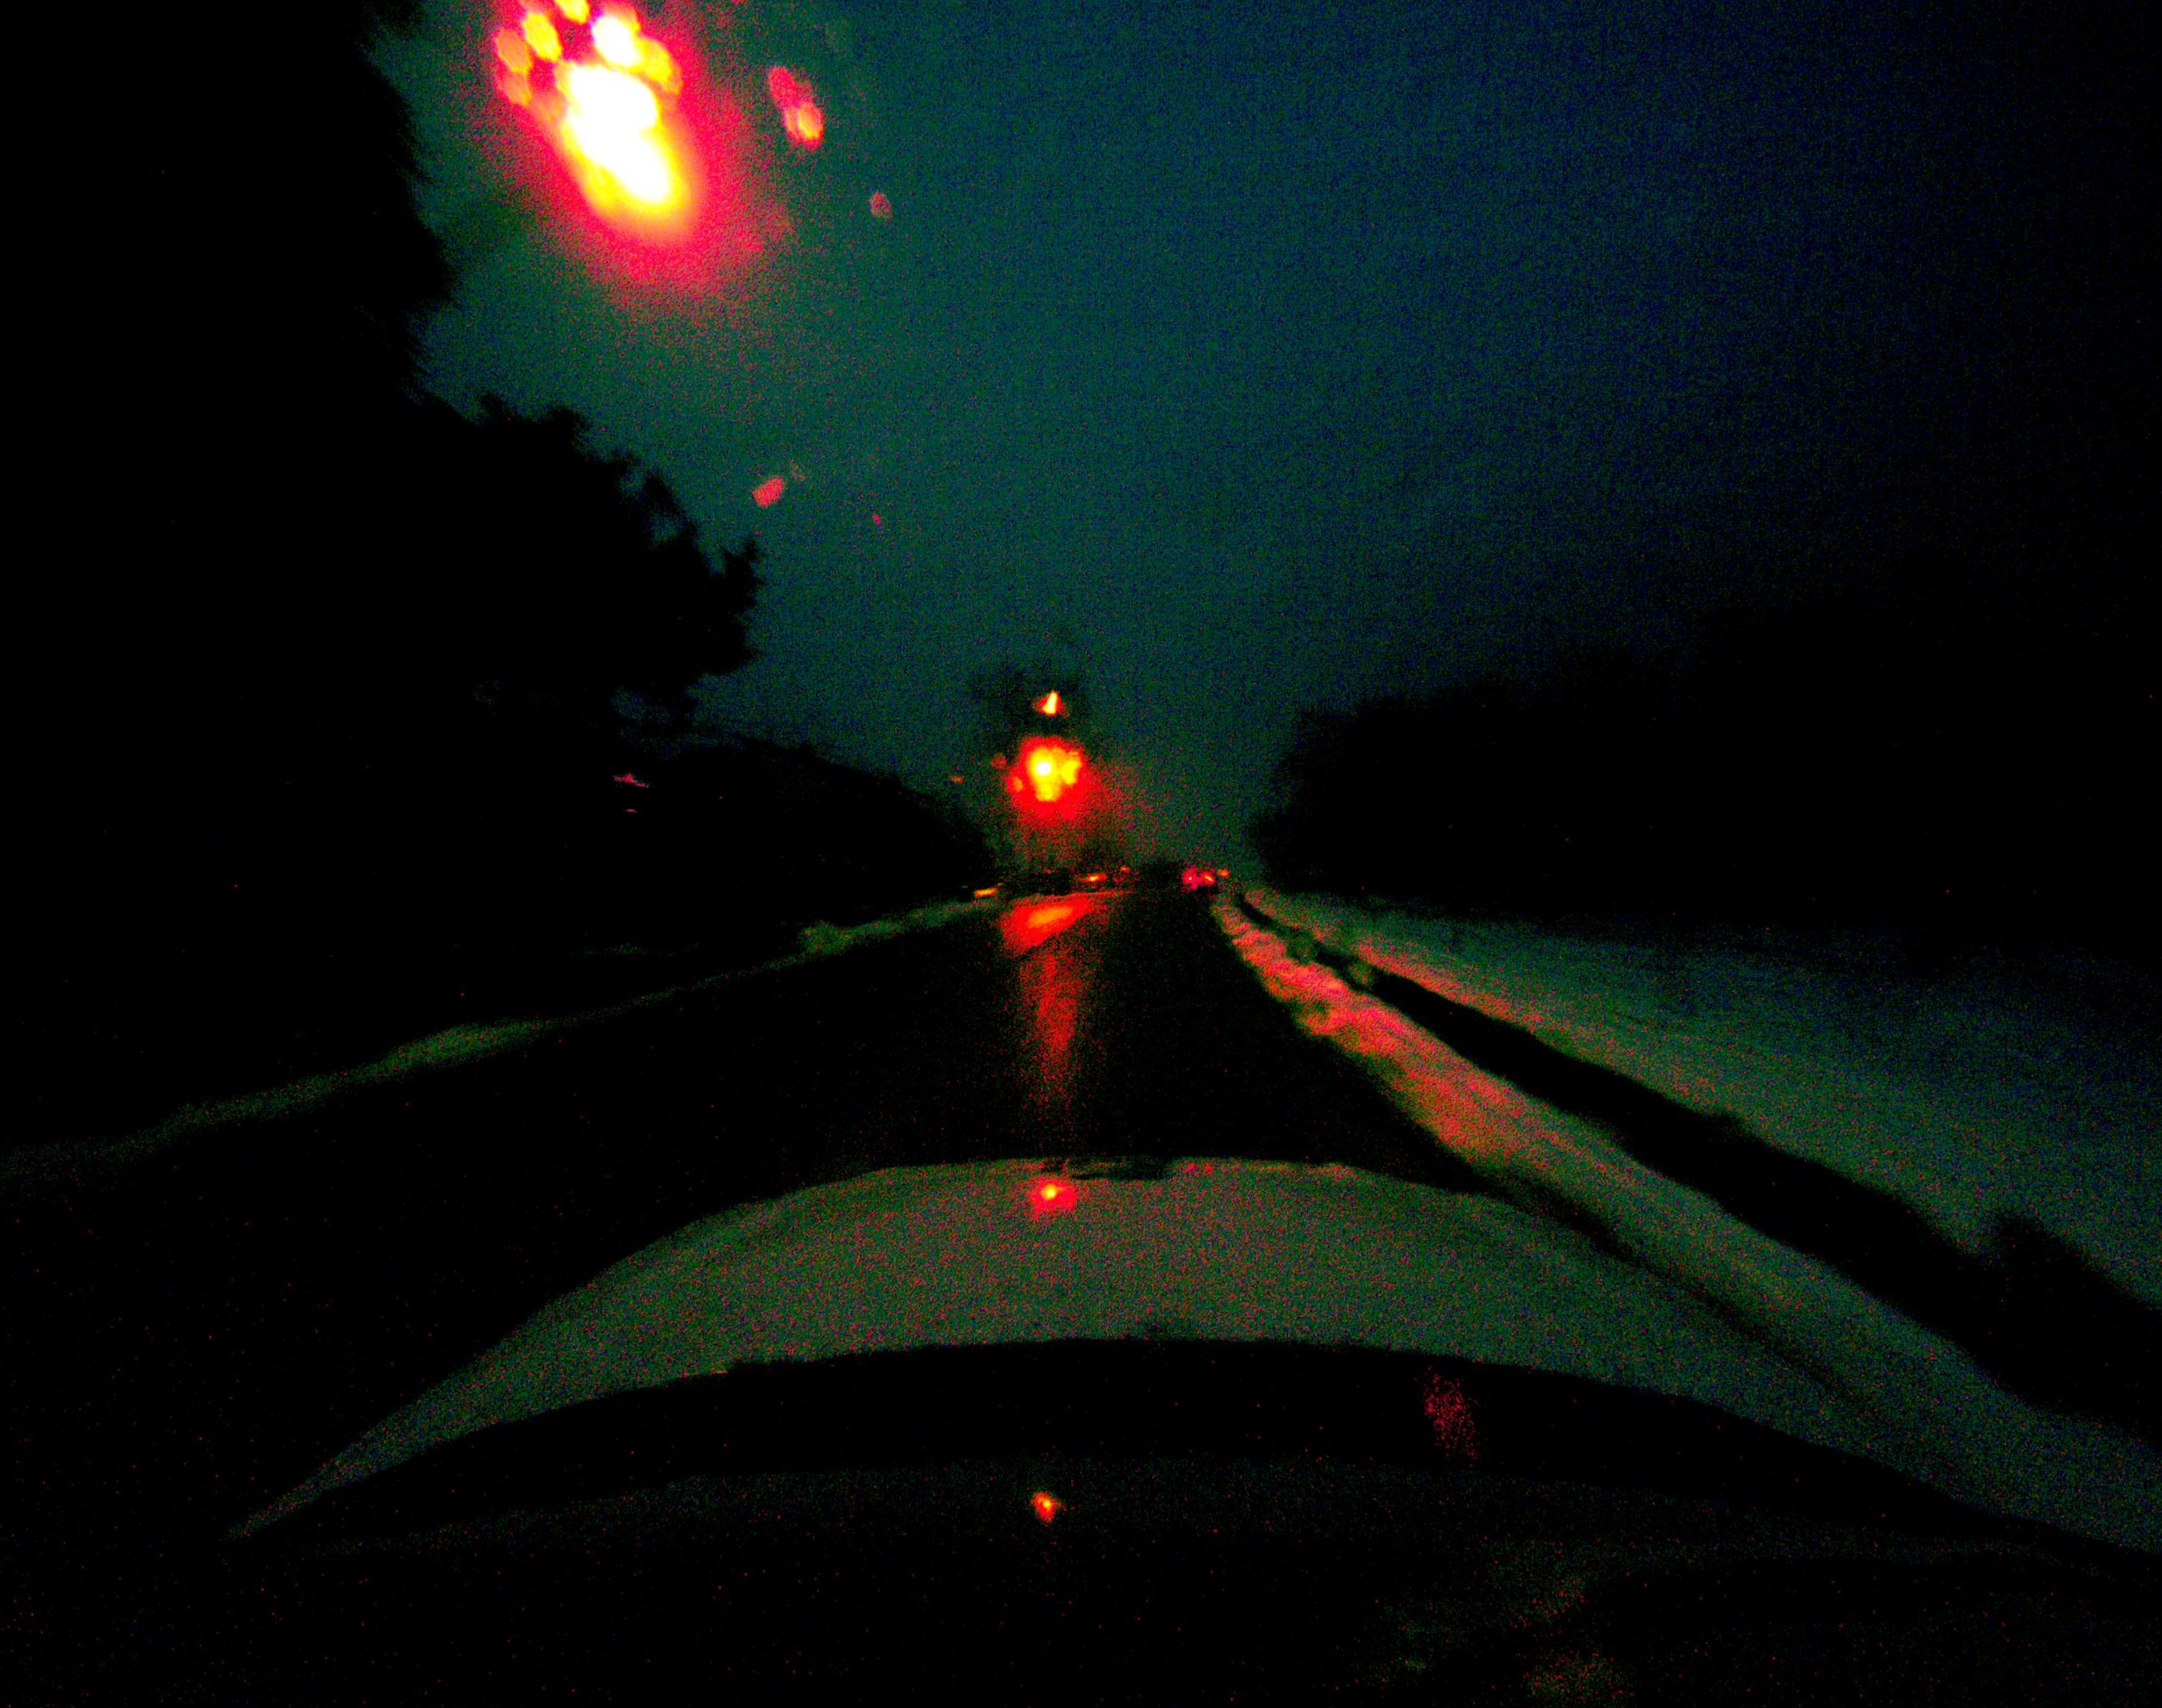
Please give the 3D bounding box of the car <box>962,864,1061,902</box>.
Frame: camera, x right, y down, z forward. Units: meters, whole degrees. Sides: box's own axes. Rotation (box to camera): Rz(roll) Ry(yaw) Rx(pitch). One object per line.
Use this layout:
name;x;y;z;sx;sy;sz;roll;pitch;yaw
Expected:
car;-3.311;1.416;39.748;4.510;1.566;2.111;-3;-2;2

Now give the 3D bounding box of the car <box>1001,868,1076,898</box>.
car;-2.337;1.623;45.503;3.835;1.472;1.942;-3;-2;6

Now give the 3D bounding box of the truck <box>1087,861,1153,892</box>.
truck;3.270;1.899;68.073;5.230;2.303;2.005;-3;-2;9

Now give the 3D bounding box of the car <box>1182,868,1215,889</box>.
car;8.139;1.698;56.054;1.980;1.420;4.012;-1;-2;12

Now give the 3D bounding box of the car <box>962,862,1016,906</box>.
car;-3.884;1.255;33.992;1.992;1.566;4.983;-4;-2;-8

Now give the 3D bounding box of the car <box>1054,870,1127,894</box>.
car;0.692;2.014;58.550;4.857;1.485;2.129;-3;-2;10
